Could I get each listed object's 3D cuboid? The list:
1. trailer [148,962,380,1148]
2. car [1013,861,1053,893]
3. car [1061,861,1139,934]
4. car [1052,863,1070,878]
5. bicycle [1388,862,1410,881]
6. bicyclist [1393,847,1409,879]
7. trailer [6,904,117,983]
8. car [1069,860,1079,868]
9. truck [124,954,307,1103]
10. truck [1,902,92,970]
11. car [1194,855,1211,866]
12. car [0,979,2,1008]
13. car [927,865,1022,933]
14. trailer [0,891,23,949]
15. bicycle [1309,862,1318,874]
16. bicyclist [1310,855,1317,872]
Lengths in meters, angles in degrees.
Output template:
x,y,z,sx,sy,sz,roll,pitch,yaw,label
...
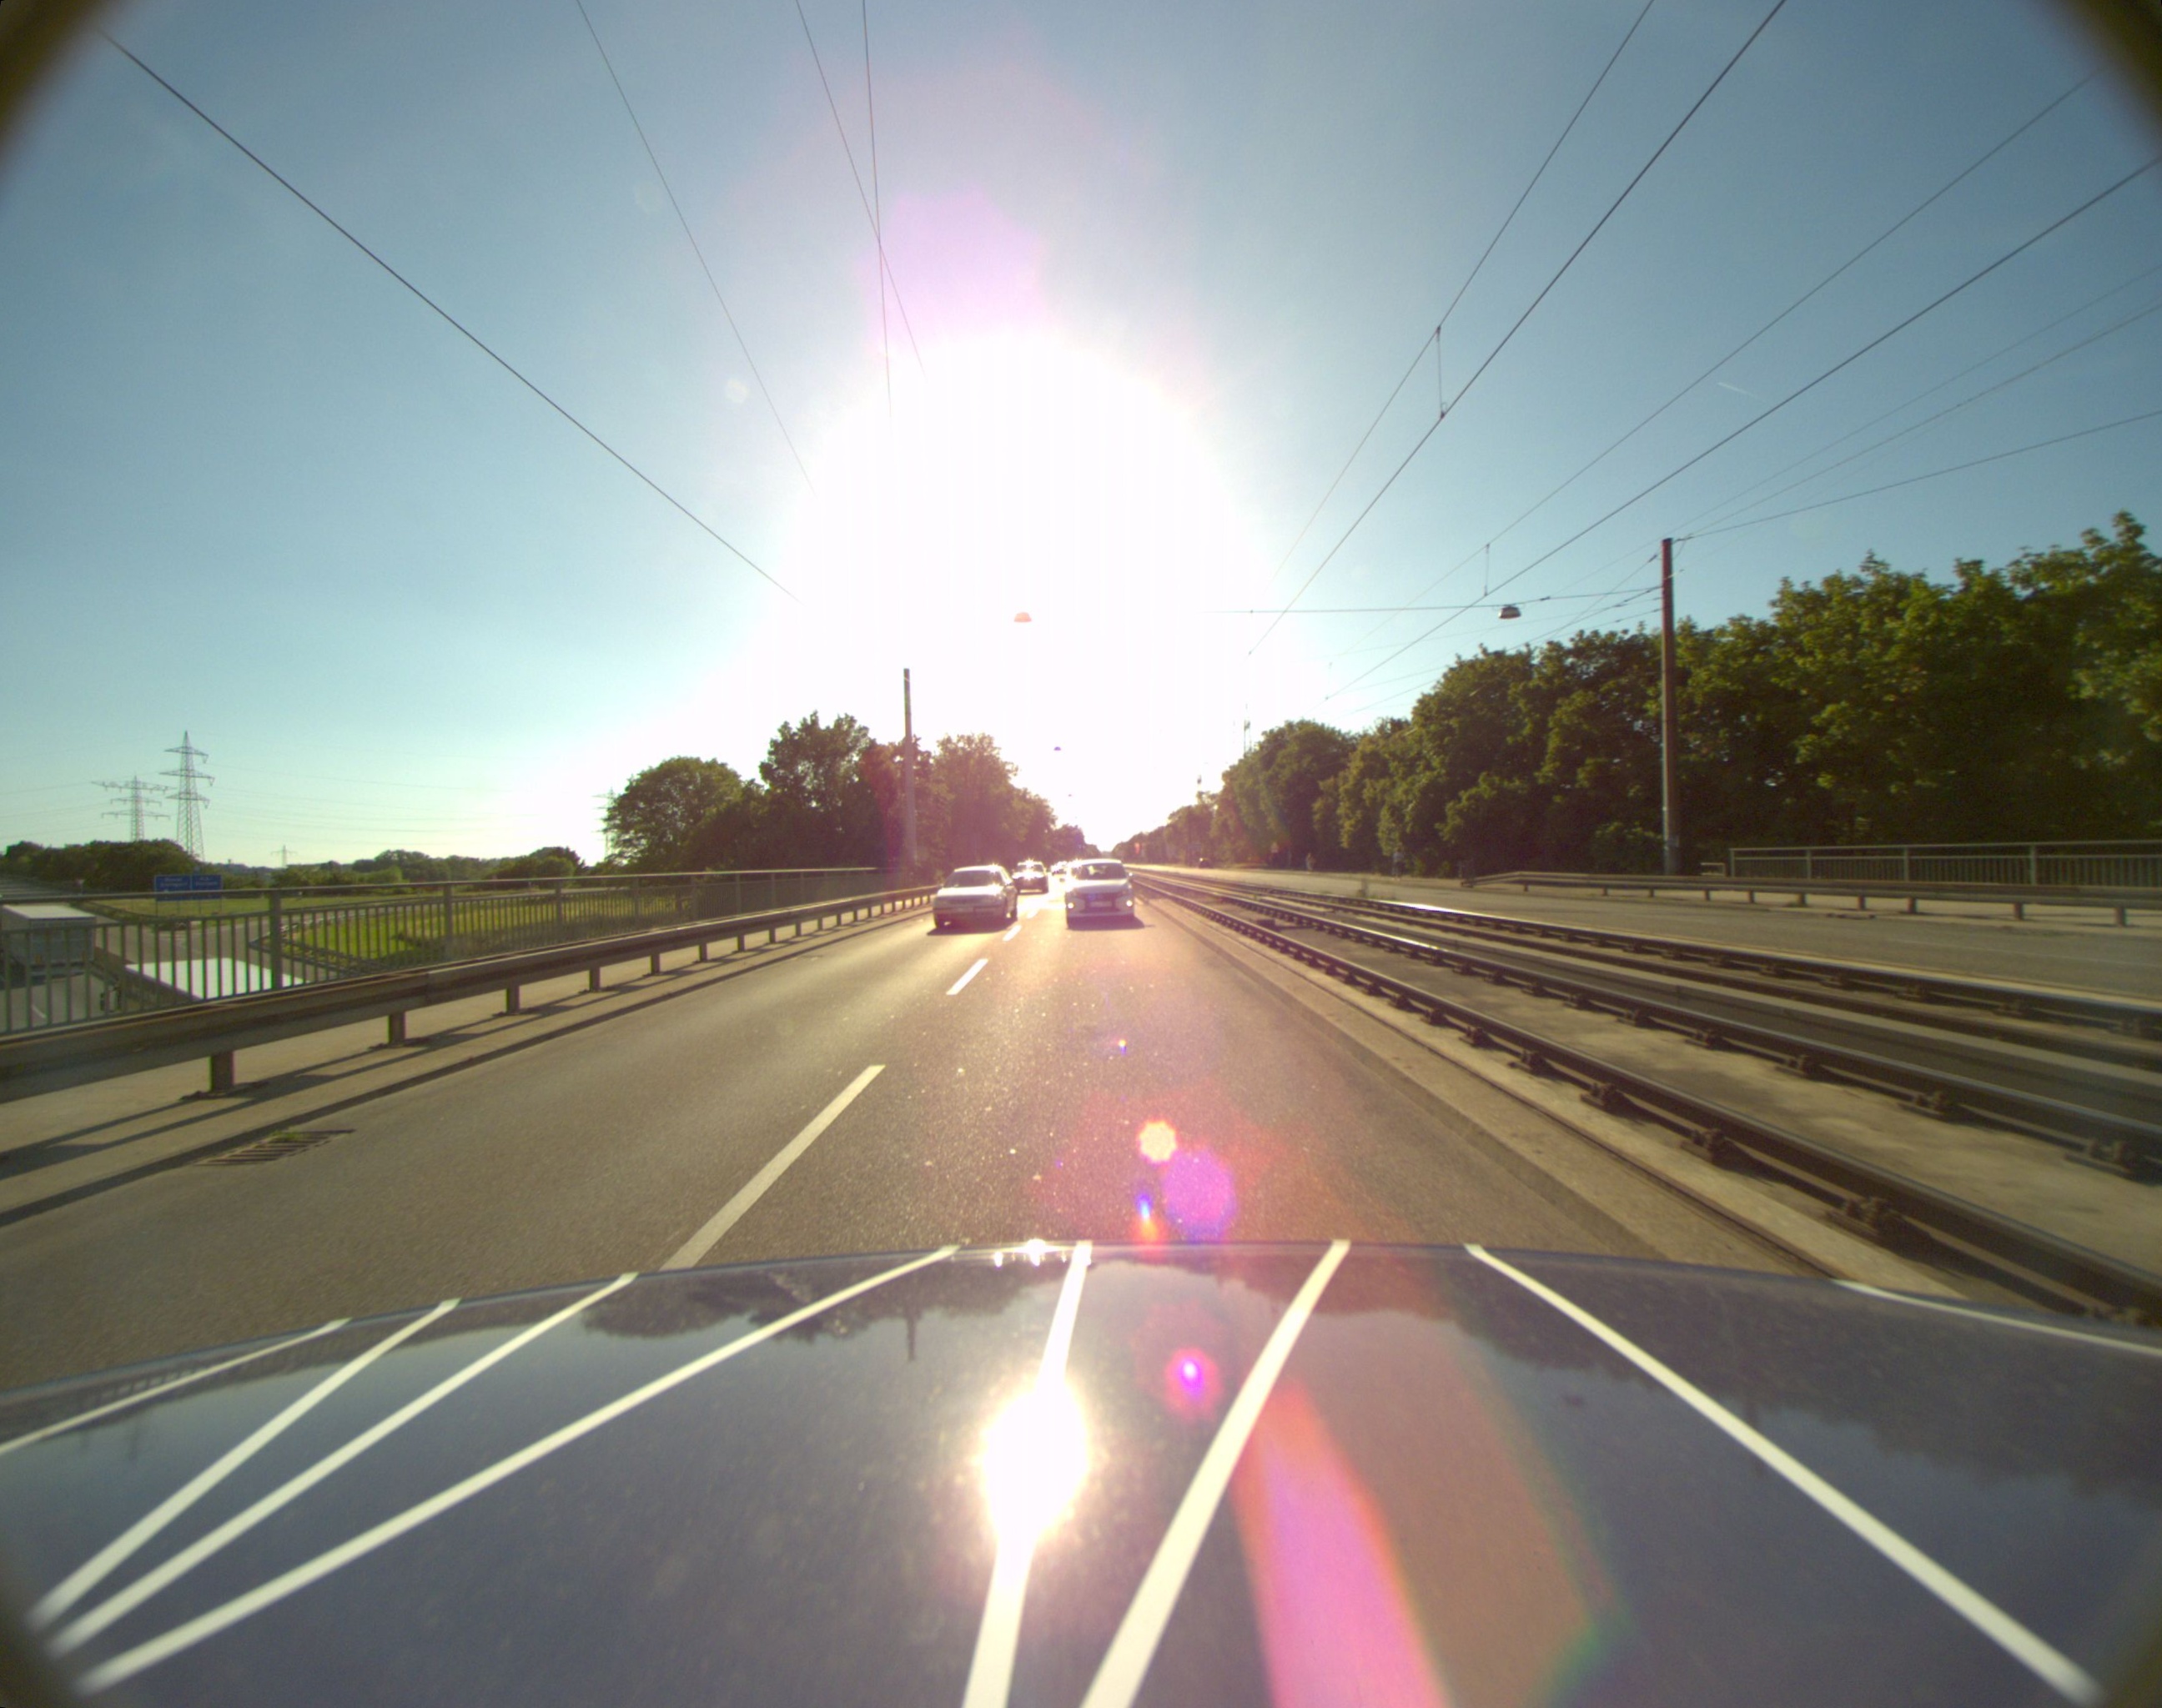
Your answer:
x,y,z,sx,sy,sz,roll,pitch,yaw,label
-26.128,5.937,24.137,9.347,3.834,3.060,0,3,32,trailer
-2.544,1.199,40.862,1.709,1.512,3.844,-3,0,2,car
0.493,1.008,19.174,1.709,1.503,3.862,-3,0,2,car
-2.379,1.964,90.533,1.904,1.512,3.957,-3,0,2,car
18.203,1.004,43.547,0.505,1.046,1.727,-3,1,1,bicycle
18.172,0.495,43.153,0.498,1.740,0.833,-3,1,0,bicyclist
-67.677,5.699,50.350,11.520,4.248,3.315,0,-1,32,trailer
-1.545,2.099,163.507,1.904,1.512,3.956,-3,0,1,car
-30.918,5.932,27.098,6.587,3.861,3.060,0,3,32,truck
-73.411,5.706,53.903,6.361,4.252,3.286,0,-1,32,truck
19.084,1.019,119.353,1.977,1.512,3.957,-3,0,2,car
-57.583,7.149,39.092,3.949,1.507,1.891,0,2,29,car
-2.605,1.060,19.523,1.693,1.409,4.135,-3,0,2,car
-95.184,5.657,65.753,13.079,4.436,3.060,0,3,32,trailer
19.962,1.212,65.266,0.425,0.958,1.914,-3,0,7,bicycle
19.940,0.805,65.214,0.422,1.420,0.755,-3,1,7,bicyclist
